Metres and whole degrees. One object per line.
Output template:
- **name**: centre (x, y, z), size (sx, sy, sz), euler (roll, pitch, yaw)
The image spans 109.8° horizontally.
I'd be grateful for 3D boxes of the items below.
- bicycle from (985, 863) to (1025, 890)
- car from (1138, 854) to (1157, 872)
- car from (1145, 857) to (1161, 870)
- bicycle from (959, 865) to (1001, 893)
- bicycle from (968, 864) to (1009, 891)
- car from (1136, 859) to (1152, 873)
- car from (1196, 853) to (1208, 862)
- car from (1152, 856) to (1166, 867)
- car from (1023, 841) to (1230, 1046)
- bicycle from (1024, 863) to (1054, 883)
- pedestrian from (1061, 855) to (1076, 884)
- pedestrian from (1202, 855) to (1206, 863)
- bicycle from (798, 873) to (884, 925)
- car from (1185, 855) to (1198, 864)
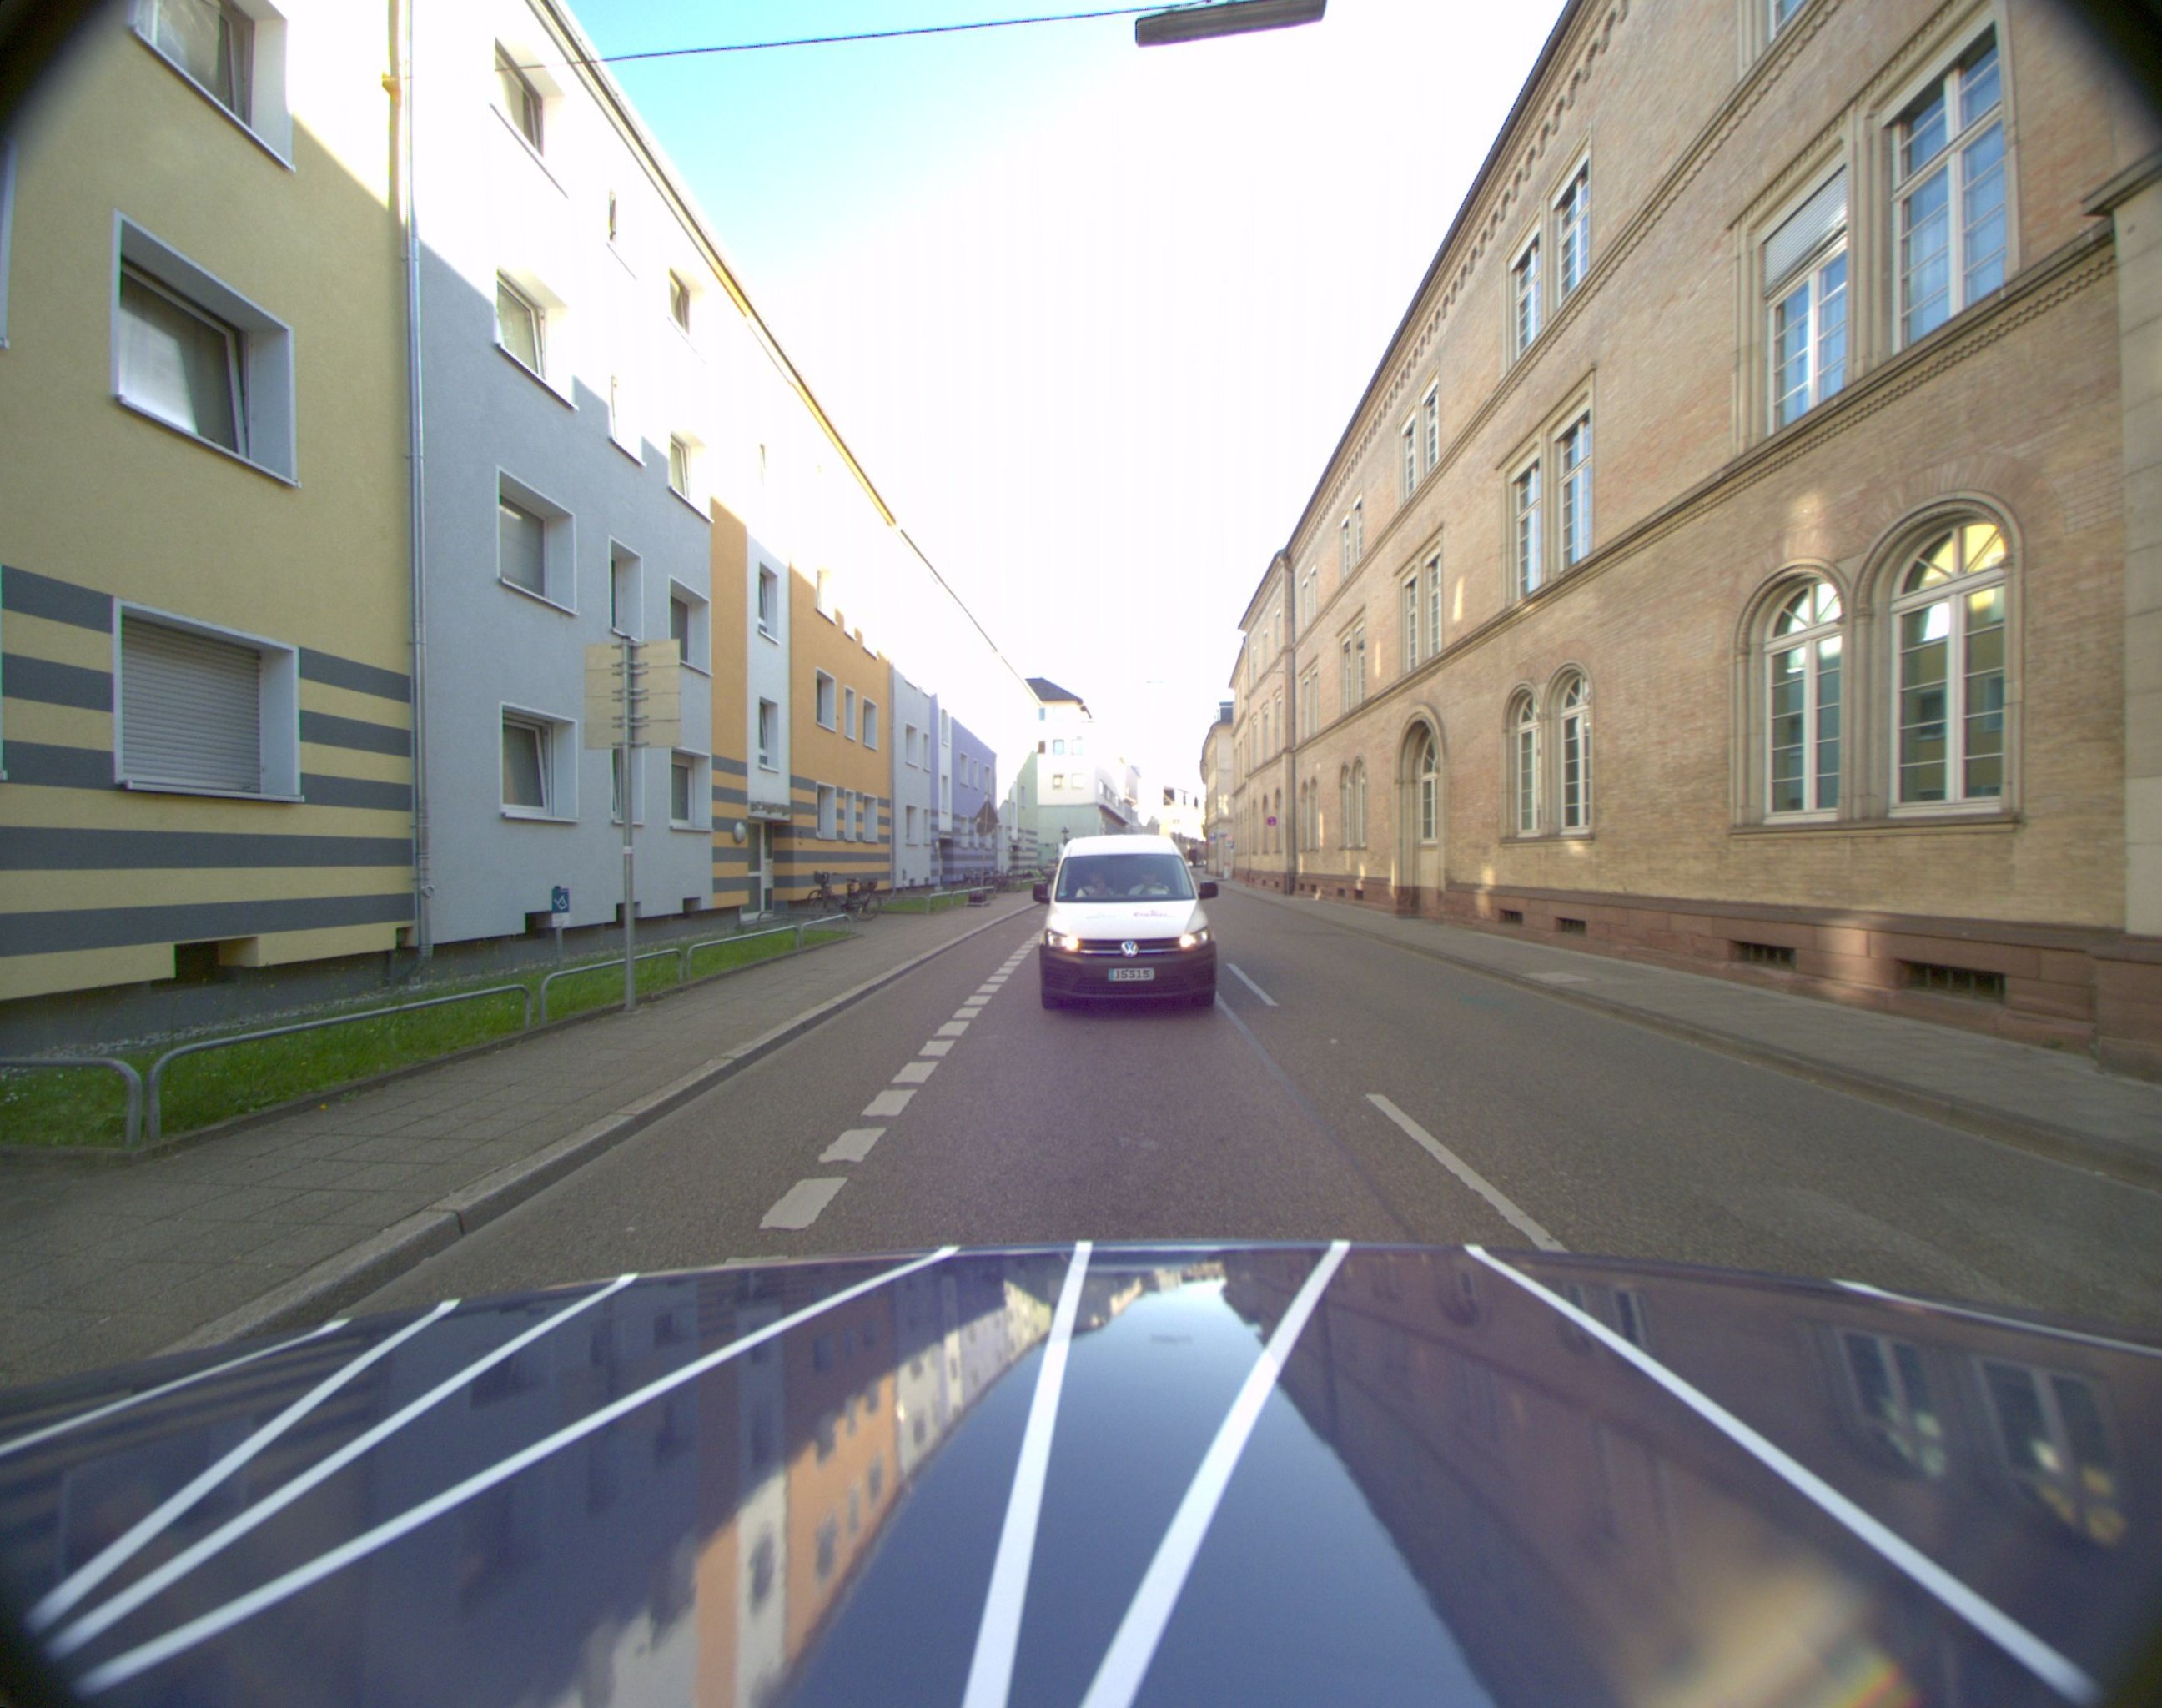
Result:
- **bicycle**: centre (-3.369, 0.998, 33.698), size (1.676, 1.145, 0.484), euler (0, 0, 4)
- **car**: centre (9.418, 1.231, 107.106), size (2.103, 2.264, 5.506), euler (-2, 1, 11)
- **car**: centre (10.682, 1.423, 113.019), size (1.997, 1.643, 4.231), euler (-2, 1, 10)
- **bicycle**: centre (-4.232, 1.041, 31.858), size (1.676, 1.145, 0.484), euler (0, 0, 4)
- **bicycle**: centre (-4.028, 1.015, 33.152), size (1.676, 1.145, 0.484), euler (0, 0, 4)
- **car**: centre (8.383, 1.590, 100.971), size (1.998, 1.643, 4.230), euler (-2, 1, 6)
- **car**: centre (26.098, 0.785, 163.770), size (1.996, 1.643, 4.233), euler (-2, 1, 17)
- **car**: centre (12.652, 1.179, 122.717), size (1.997, 1.643, 4.231), euler (-2, 1, 9)
- **car**: centre (0.430, 0.749, 9.236), size (1.769, 1.761, 5.331), euler (-1, 1, 1)
- **bicycle**: centre (-2.512, 1.147, 46.069), size (1.779, 1.145, 0.484), euler (0, 0, 0)
- **pedestrian**: centre (-0.694, 0.875, 43.618), size (0.705, 1.627, 0.833), euler (2, 2, 5)
- **pedestrian**: centre (24.841, 0.980, 153.575), size (0.705, 1.627, 0.833), euler (3, 2, 12)
- **bicycle**: centre (-5.382, 1.010, 17.122), size (1.780, 1.116, 0.484), euler (0, 0, -5)
- **car**: centre (22.115, 1.070, 152.039), size (1.996, 1.643, 4.233), euler (-2, 1, 17)
